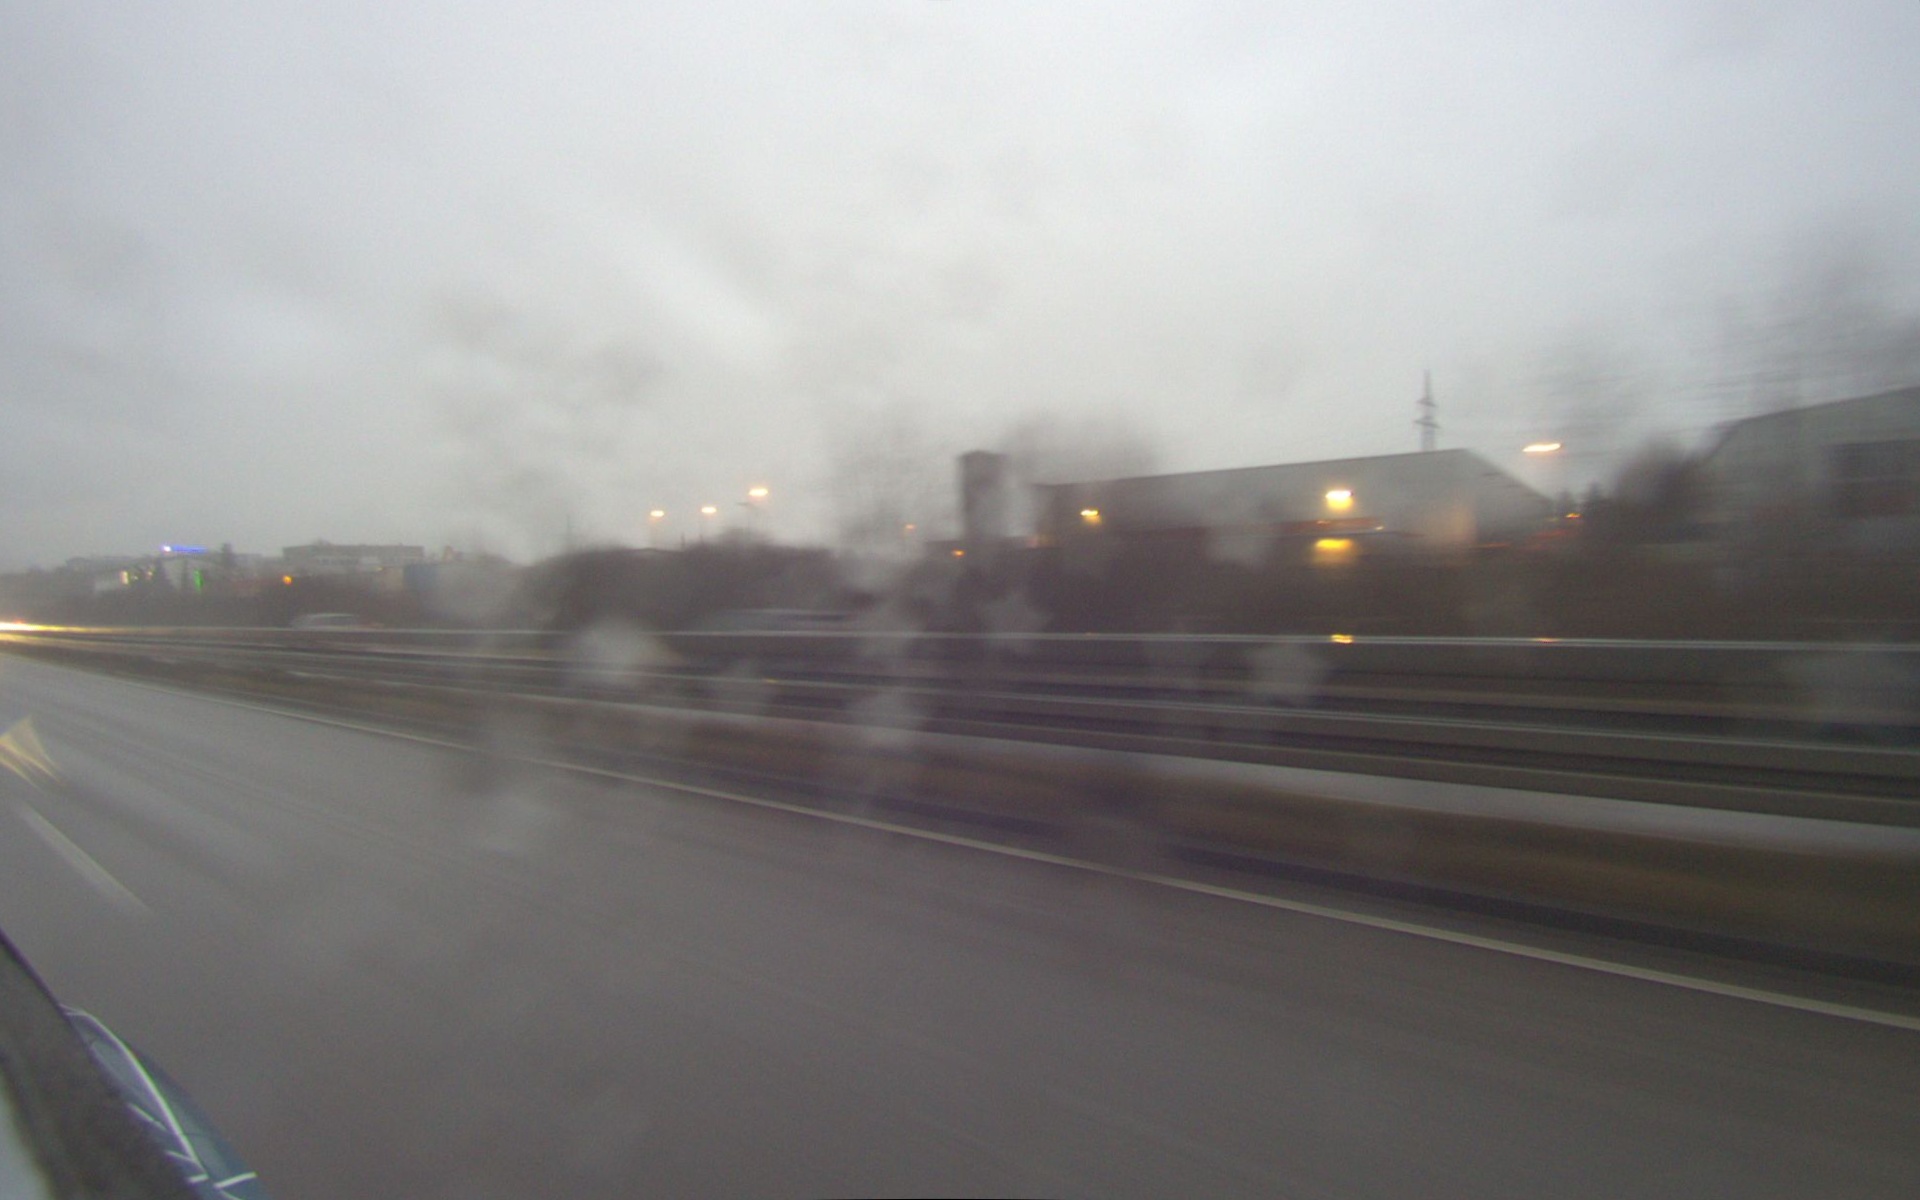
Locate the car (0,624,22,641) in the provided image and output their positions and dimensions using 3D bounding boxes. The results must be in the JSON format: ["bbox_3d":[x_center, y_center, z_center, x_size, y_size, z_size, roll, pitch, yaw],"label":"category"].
[{"bbox_3d":[-94.644,3.173,100.566,3.999,1.652,1.722,-1,-1,42],"label":"car"}]

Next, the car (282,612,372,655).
[{"bbox_3d":[-23.474,1.199,37.477,4.364,1.486,1.685,-1,-1,42],"label":"car"}]

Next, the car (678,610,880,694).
[{"bbox_3d":[-3.714,0.970,20.332,4.364,1.486,1.685,-1,-1,42],"label":"car"}]
